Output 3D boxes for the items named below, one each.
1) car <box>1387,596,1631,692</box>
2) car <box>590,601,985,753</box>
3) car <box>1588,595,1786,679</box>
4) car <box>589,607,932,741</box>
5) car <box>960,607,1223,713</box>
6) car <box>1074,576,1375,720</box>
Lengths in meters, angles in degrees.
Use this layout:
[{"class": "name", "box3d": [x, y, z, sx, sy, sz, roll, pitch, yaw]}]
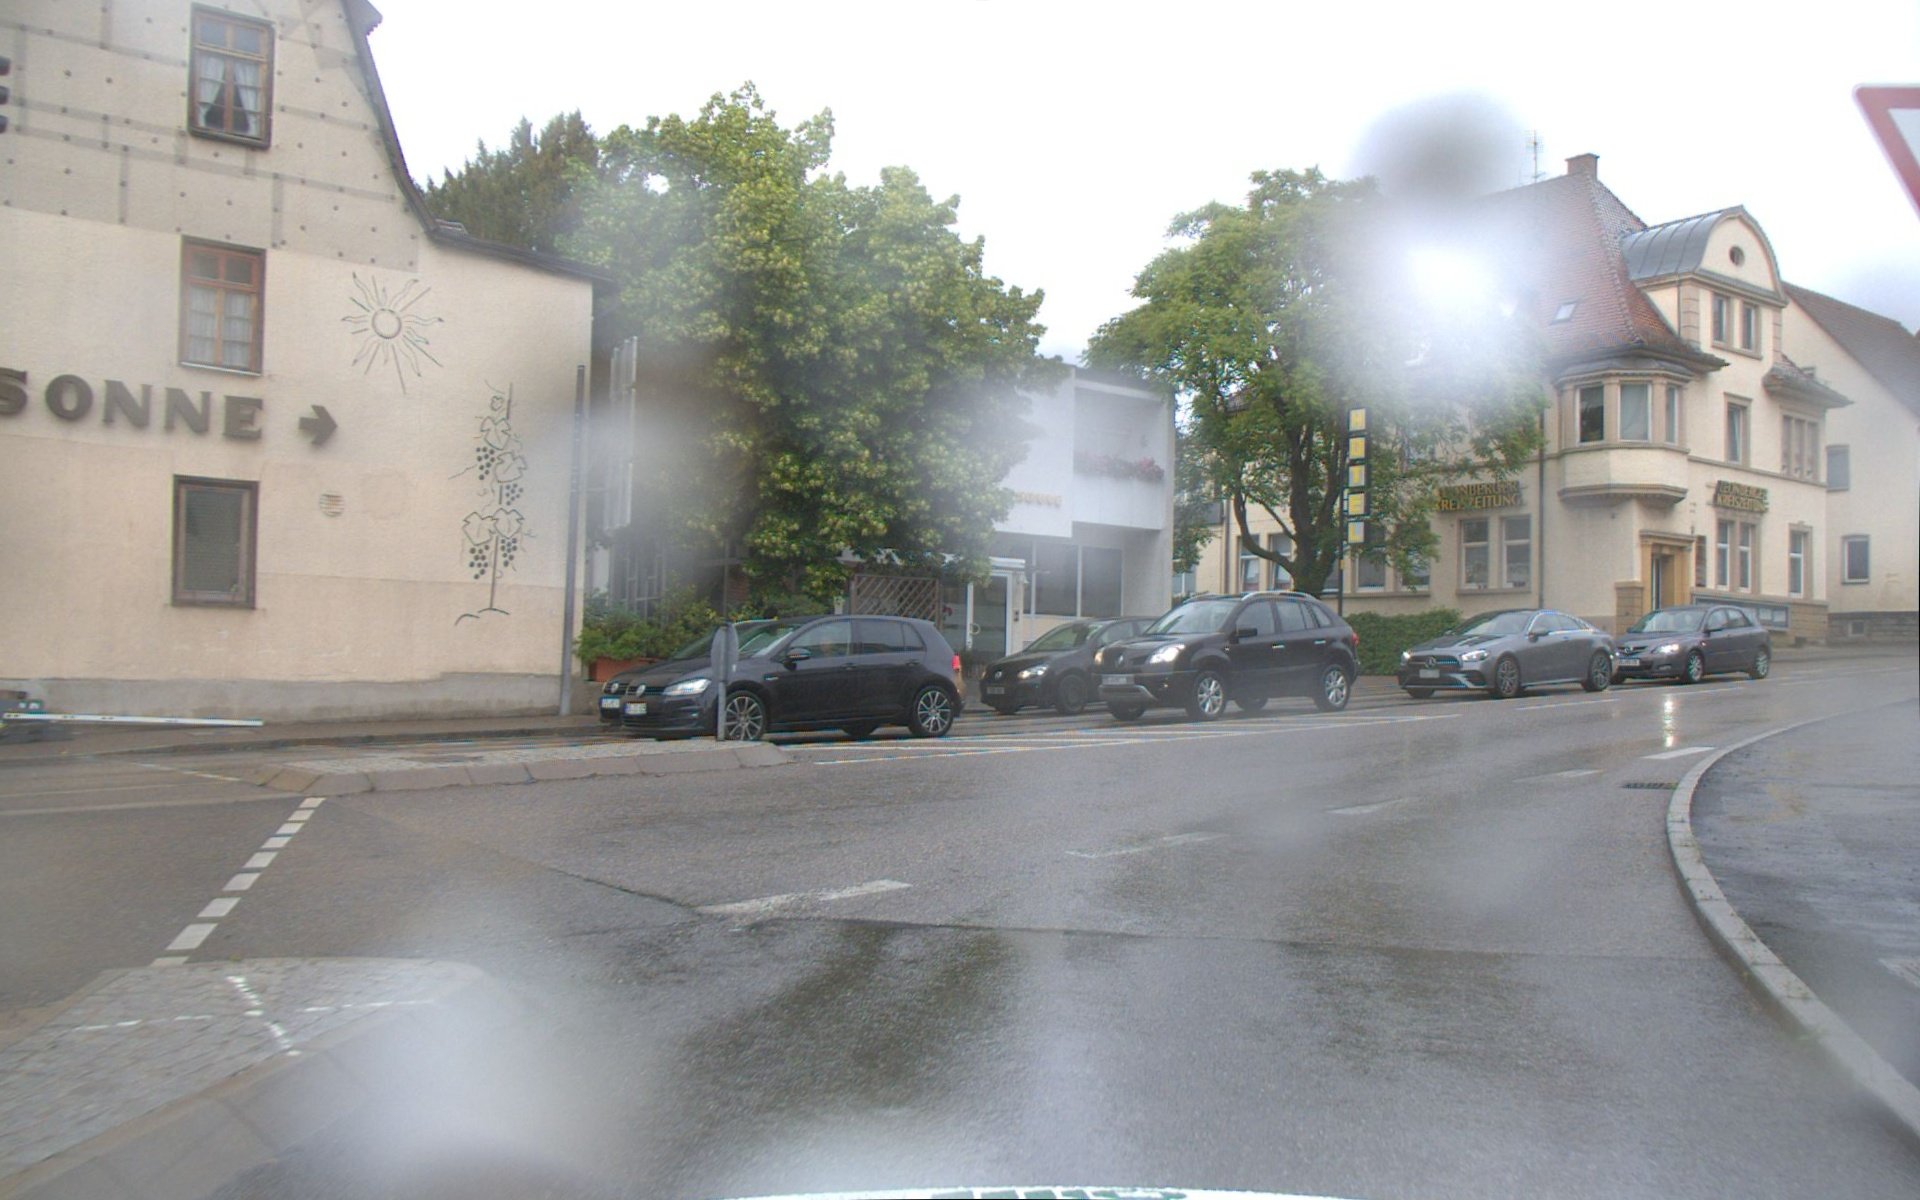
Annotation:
[{"class": "car", "box3d": [9.349, 0.718, 28.031, 4.495, 1.477, 1.754, 0, -2, -39]}, {"class": "car", "box3d": [-1.900, 0.826, 18.995, 4.276, 1.531, 1.752, 0, -3, -40]}, {"class": "car", "box3d": [14.065, 0.701, 31.910, 4.144, 1.477, 1.754, 0, -2, -39]}, {"class": "car", "box3d": [-2.540, 0.920, 21.571, 4.144, 1.545, 1.754, 0, -2, -39]}, {"class": "car", "box3d": [2.160, 0.936, 26.651, 4.144, 1.545, 1.754, 0, -2, -39]}, {"class": "car", "box3d": [3.777, 0.641, 23.299, 4.273, 1.847, 1.754, 0, -3, -39]}]
